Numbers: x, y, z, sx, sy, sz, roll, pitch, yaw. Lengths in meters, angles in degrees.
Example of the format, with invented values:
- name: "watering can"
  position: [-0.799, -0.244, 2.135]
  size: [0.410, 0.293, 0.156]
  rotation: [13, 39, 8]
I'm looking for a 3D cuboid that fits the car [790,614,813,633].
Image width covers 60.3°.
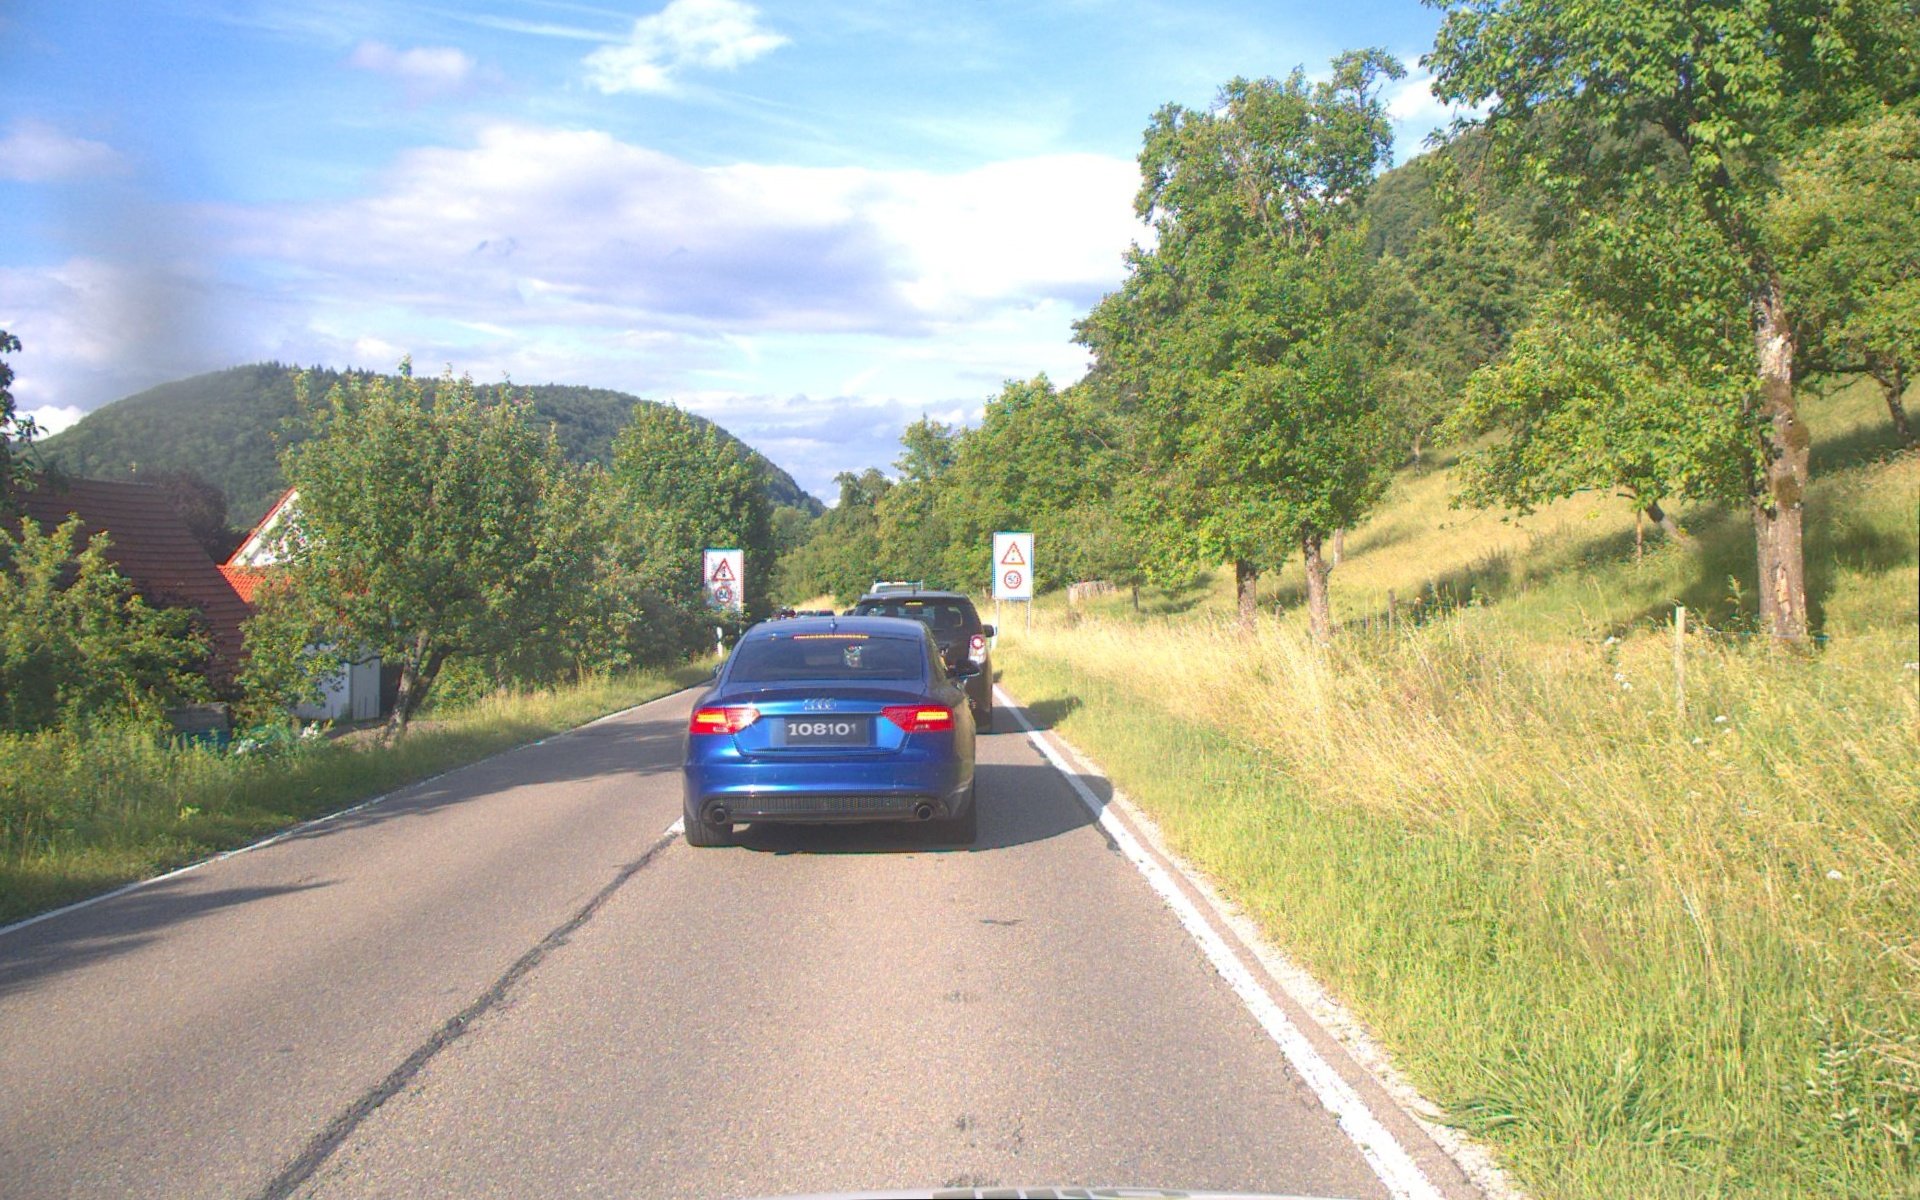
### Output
- name: "car"
  position: [-13.741, 1.997, 143.344]
  size: [1.532, 1.522, 3.766]
  rotation: [2, 0, -13]

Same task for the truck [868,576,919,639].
- name: "truck"
  position: [-2.711, 0.291, 67.753]
  size: [1.911, 2.386, 5.091]
  rotation: [2, 0, -2]

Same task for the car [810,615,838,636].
- name: "car"
  position: [-10.863, 2.012, 131.916]
  size: [1.717, 1.522, 3.767]
  rotation: [2, 0, -12]

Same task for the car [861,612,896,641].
- name: "car"
  position: [-4.714, 1.528, 95.516]
  size: [1.715, 1.522, 3.772]
  rotation: [2, 0, -7]

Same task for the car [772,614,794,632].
- name: "car"
  position: [-16.584, 2.144, 154.819]
  size: [1.532, 1.522, 3.765]
  rotation: [2, 0, -14]

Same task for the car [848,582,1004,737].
- name: "car"
  position: [-0.414, 0.634, 19.789]
  size: [1.658, 1.652, 3.788]
  rotation: [1, 0, -2]

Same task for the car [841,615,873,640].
- name: "car"
  position: [-6.917, 1.832, 111.142]
  size: [1.716, 1.522, 3.769]
  rotation: [2, 0, -10]

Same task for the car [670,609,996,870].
- name: "car"
  position: [-0.731, 0.772, 11.150]
  size: [1.769, 1.406, 4.213]
  rotation: [0, 0, -1]

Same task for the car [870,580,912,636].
- name: "car"
  position: [-3.237, 0.356, 77.251]
  size: [1.757, 2.496, 3.916]
  rotation: [2, 0, -4]
